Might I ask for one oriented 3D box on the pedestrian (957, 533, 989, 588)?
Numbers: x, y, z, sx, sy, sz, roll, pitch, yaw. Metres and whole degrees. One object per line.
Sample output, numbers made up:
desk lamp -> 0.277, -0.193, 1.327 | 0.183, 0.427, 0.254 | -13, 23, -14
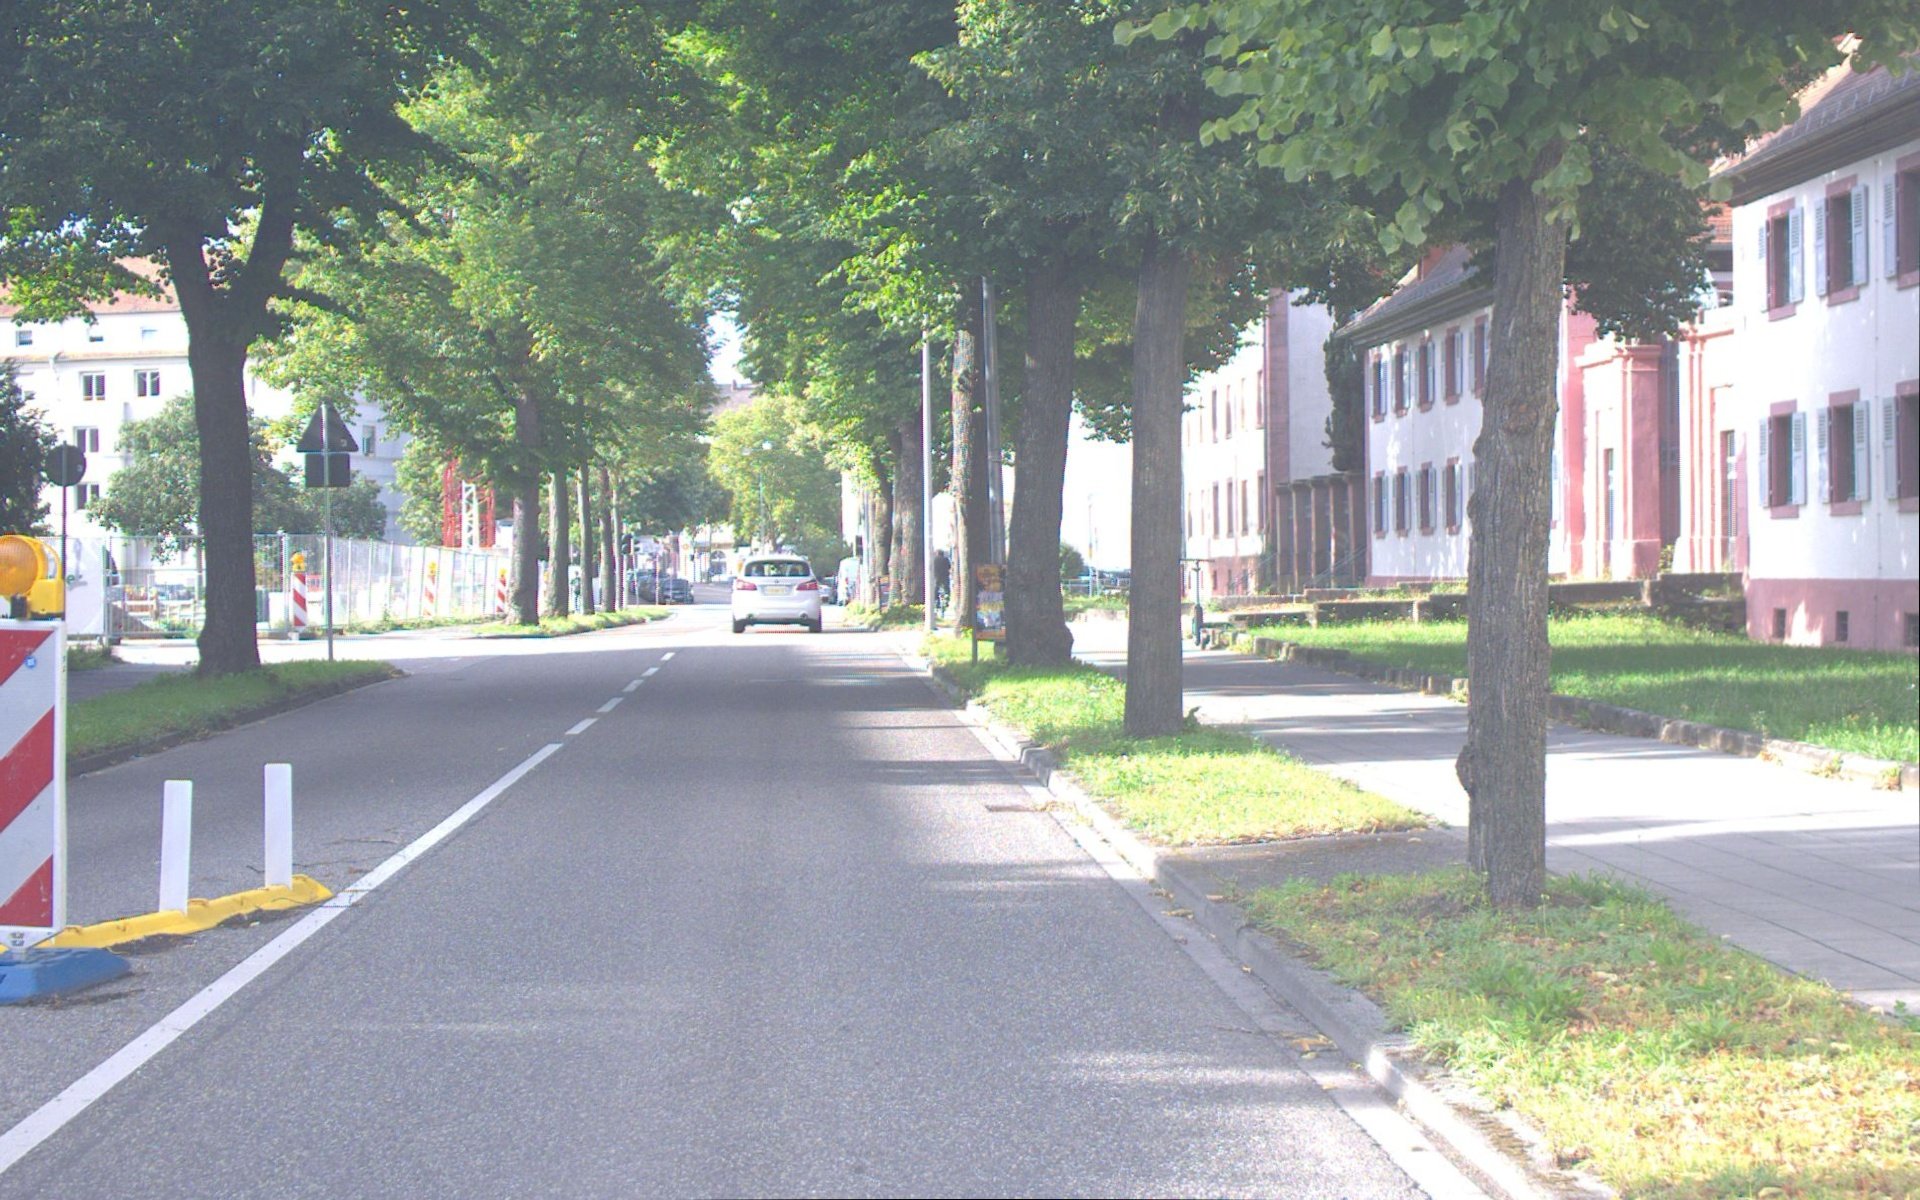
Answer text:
pedestrian -> 0.390, -1.177, 101.990 | 0.814, 1.585, 0.769 | -3, 0, -4

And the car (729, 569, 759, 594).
car -> -15.354, -1.294, 244.353 | 1.993, 1.749, 4.000 | 0, 0, -2

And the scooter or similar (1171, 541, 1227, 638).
scooter or similar -> 3.270, -0.145, 47.160 | 0.579, 1.287, 1.381 | -2, 1, -1

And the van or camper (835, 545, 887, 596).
van or camper -> -5.220, -1.564, 180.690 | 2.209, 2.598, 5.373 | -1, 1, -7

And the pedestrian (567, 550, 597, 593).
pedestrian -> -15.145, -1.136, 137.758 | 1.006, 1.722, 1.178 | 0, -1, -15

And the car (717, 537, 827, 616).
car -> -3.847, -0.462, 69.798 | 1.993, 1.549, 4.275 | 0, 0, -6

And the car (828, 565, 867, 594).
car -> -6.275, -1.149, 191.588 | 1.993, 1.568, 4.001 | -1, 1, -4

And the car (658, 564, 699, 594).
car -> -16.083, -1.223, 196.589 | 1.993, 1.634, 4.001 | -1, 1, -9
